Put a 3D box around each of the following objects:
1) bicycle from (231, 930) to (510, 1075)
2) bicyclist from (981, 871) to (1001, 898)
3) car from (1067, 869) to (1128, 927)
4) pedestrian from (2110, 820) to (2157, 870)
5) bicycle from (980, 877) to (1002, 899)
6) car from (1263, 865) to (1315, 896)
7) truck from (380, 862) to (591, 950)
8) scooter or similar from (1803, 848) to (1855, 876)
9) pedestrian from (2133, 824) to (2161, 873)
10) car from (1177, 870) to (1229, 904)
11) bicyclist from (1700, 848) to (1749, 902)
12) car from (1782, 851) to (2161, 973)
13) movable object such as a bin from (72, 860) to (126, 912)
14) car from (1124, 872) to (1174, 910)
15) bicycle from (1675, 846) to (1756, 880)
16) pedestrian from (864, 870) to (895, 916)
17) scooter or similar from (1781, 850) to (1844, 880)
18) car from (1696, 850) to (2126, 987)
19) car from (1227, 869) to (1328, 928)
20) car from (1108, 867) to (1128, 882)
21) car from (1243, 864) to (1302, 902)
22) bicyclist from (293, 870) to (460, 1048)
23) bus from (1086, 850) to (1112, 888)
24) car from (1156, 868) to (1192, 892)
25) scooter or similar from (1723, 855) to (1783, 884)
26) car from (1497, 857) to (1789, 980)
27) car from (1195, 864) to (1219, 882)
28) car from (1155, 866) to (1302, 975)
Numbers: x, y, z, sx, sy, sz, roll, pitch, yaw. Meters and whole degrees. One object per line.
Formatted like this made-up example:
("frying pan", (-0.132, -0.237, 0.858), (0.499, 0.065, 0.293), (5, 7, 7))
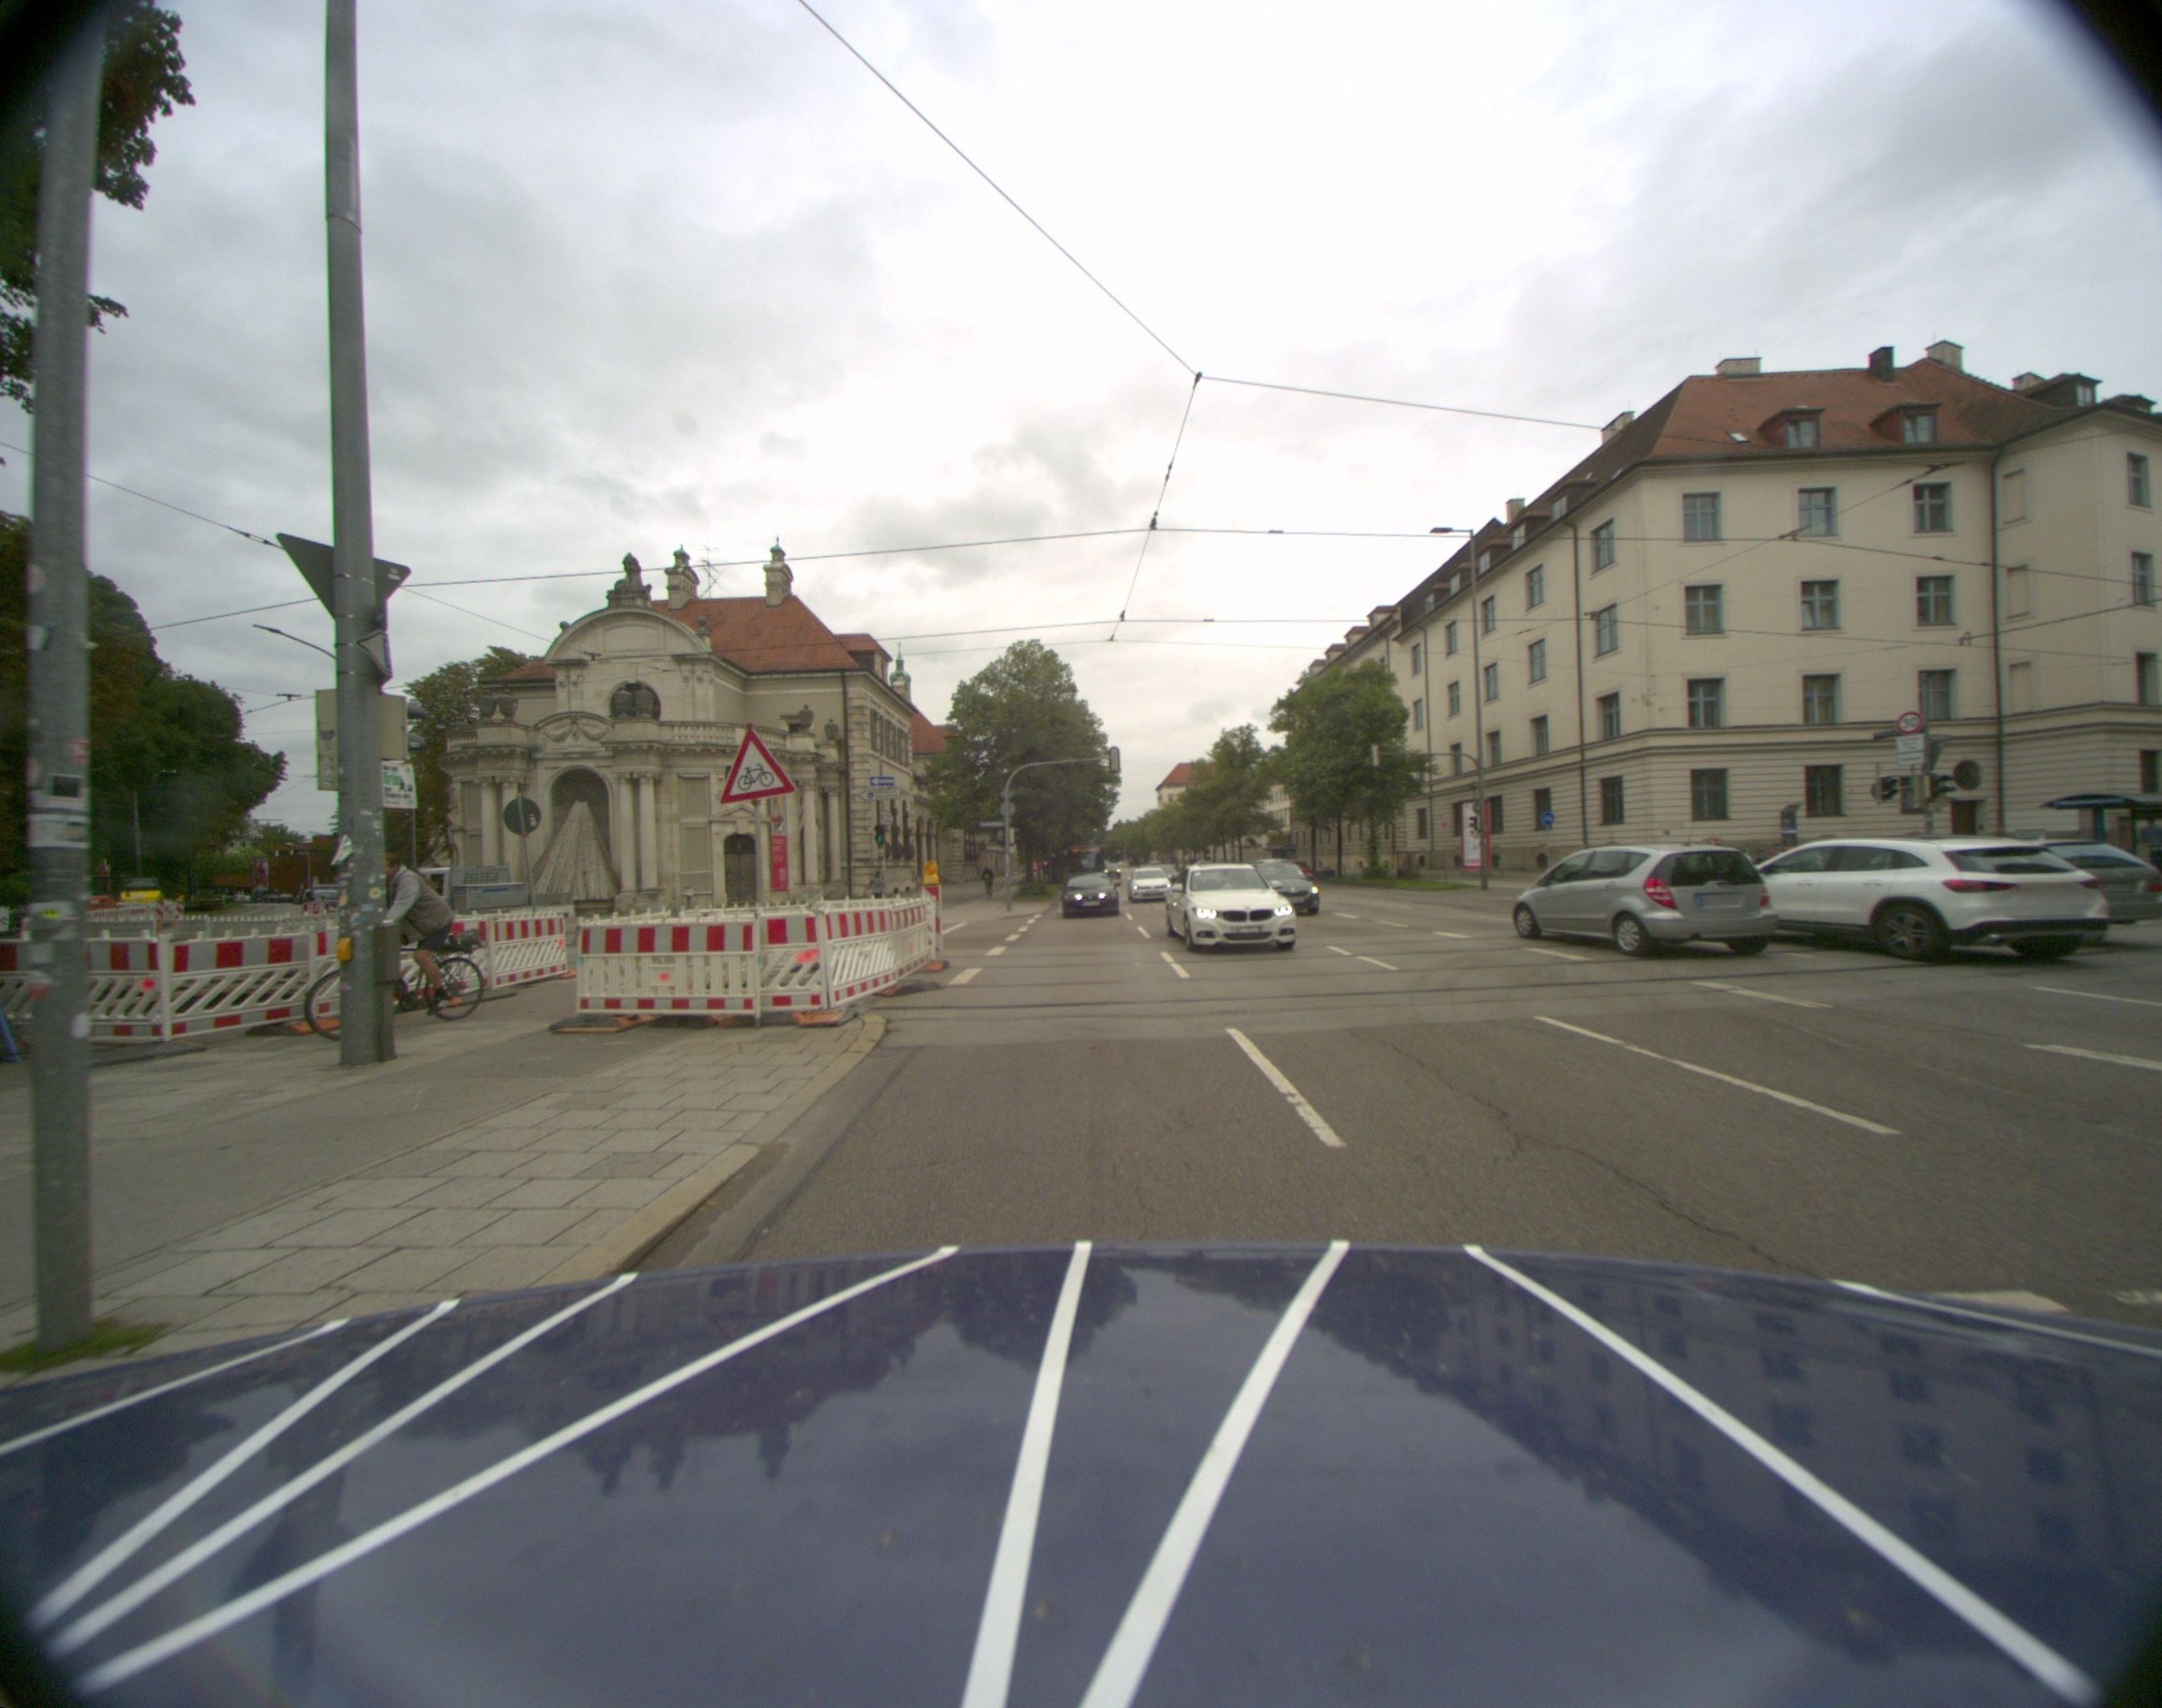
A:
("bicycle", (-7.047, 1.412, 7.752), (0.740, 1.051, 2.163), (-3, -1, 1))
("bicyclist", (-4.627, 1.576, 39.112), (0.808, 1.305, 0.893), (-3, 0, 0))
("car", (0.497, 1.360, 25.001), (1.797, 1.627, 4.275), (-2, 0, 0))
("pedestrian", (40.825, -0.340, 29.488), (0.807, 1.841, 0.660), (-3, 0, 1))
("bicycle", (-4.627, 1.738, 39.146), (0.830, 1.001, 2.058), (-3, -1, 0))
("car", (11.411, 1.417, 41.975), (1.757, 1.521, 4.227), (-2, 0, 1))
("truck", (-19.494, 1.694, 24.921), (5.925, 2.479, 2.297), (-3, 0, 16))
("scooter or similar", (30.595, 0.332, 31.108), (0.546, 1.112, 1.547), (-3, 0, 1))
("pedestrian", (40.821, -0.209, 28.826), (0.807, 1.841, 0.660), (-3, 0, 1))
("car", (5.845, 1.540, 36.818), (1.797, 1.439, 4.275), (-2, 0, 0))
("bicyclist", (19.449, 0.626, 22.990), (0.661, 1.569, 0.892), (-3, 0, 1))
("car", (13.955, 0.790, 12.154), (1.739, 1.567, 4.057), (-2, 0, 1))
("movable object such as a bin", (-46.607, 1.536, 36.042), (3.764, 2.299, 1.323), (-4, 0, 35))
("car", (2.930, 1.565, 33.572), (1.797, 1.439, 4.275), (-2, 0, 0))
("bicycle", (19.445, 0.275, 23.349), (0.663, 0.982, 2.181), (-3, -1, 1))
("pedestrian", (-8.004, 1.529, 30.238), (1.068, 1.754, 0.773), (-3, 0, -14))
("scooter or similar", (29.793, 0.428, 30.978), (0.690, 1.151, 1.902), (-3, -1, 1))
("car", (11.249, 0.788, 10.815), (1.748, 1.586, 4.001), (0, -1, 0))
("car", (5.604, 1.210, 22.168), (1.797, 1.439, 4.275), (-2, 0, 0))
("car", (3.807, 2.133, 79.189), (1.797, 1.439, 4.275), (-2, 0, 0))
("car", (8.554, 1.255, 34.174), (1.638, 1.562, 3.946), (-2, -1, 0))
("bicyclist", (-7.107, 1.013, 7.717), (0.758, 1.657, 0.899), (-3, 0, 1))
("bus", (1.265, 1.089, 55.382), (1.638, 2.569, 6.703), (-2, -1, 0))
("car", (6.145, 1.709, 50.666), (1.797, 1.439, 4.275), (-2, 0, 0))
("scooter or similar", (27.555, 0.642, 31.200), (0.690, 1.112, 1.948), (-3, -1, 1))
("car", (8.426, 0.878, 11.912), (1.638, 1.562, 3.946), (-2, -1, 0))
("car", (11.923, 1.817, 72.070), (1.683, 1.630, 4.165), (-2, -1, 1))
("car", (2.595, 1.091, 14.583), (1.797, 1.627, 5.026), (-2, 0, 0))
